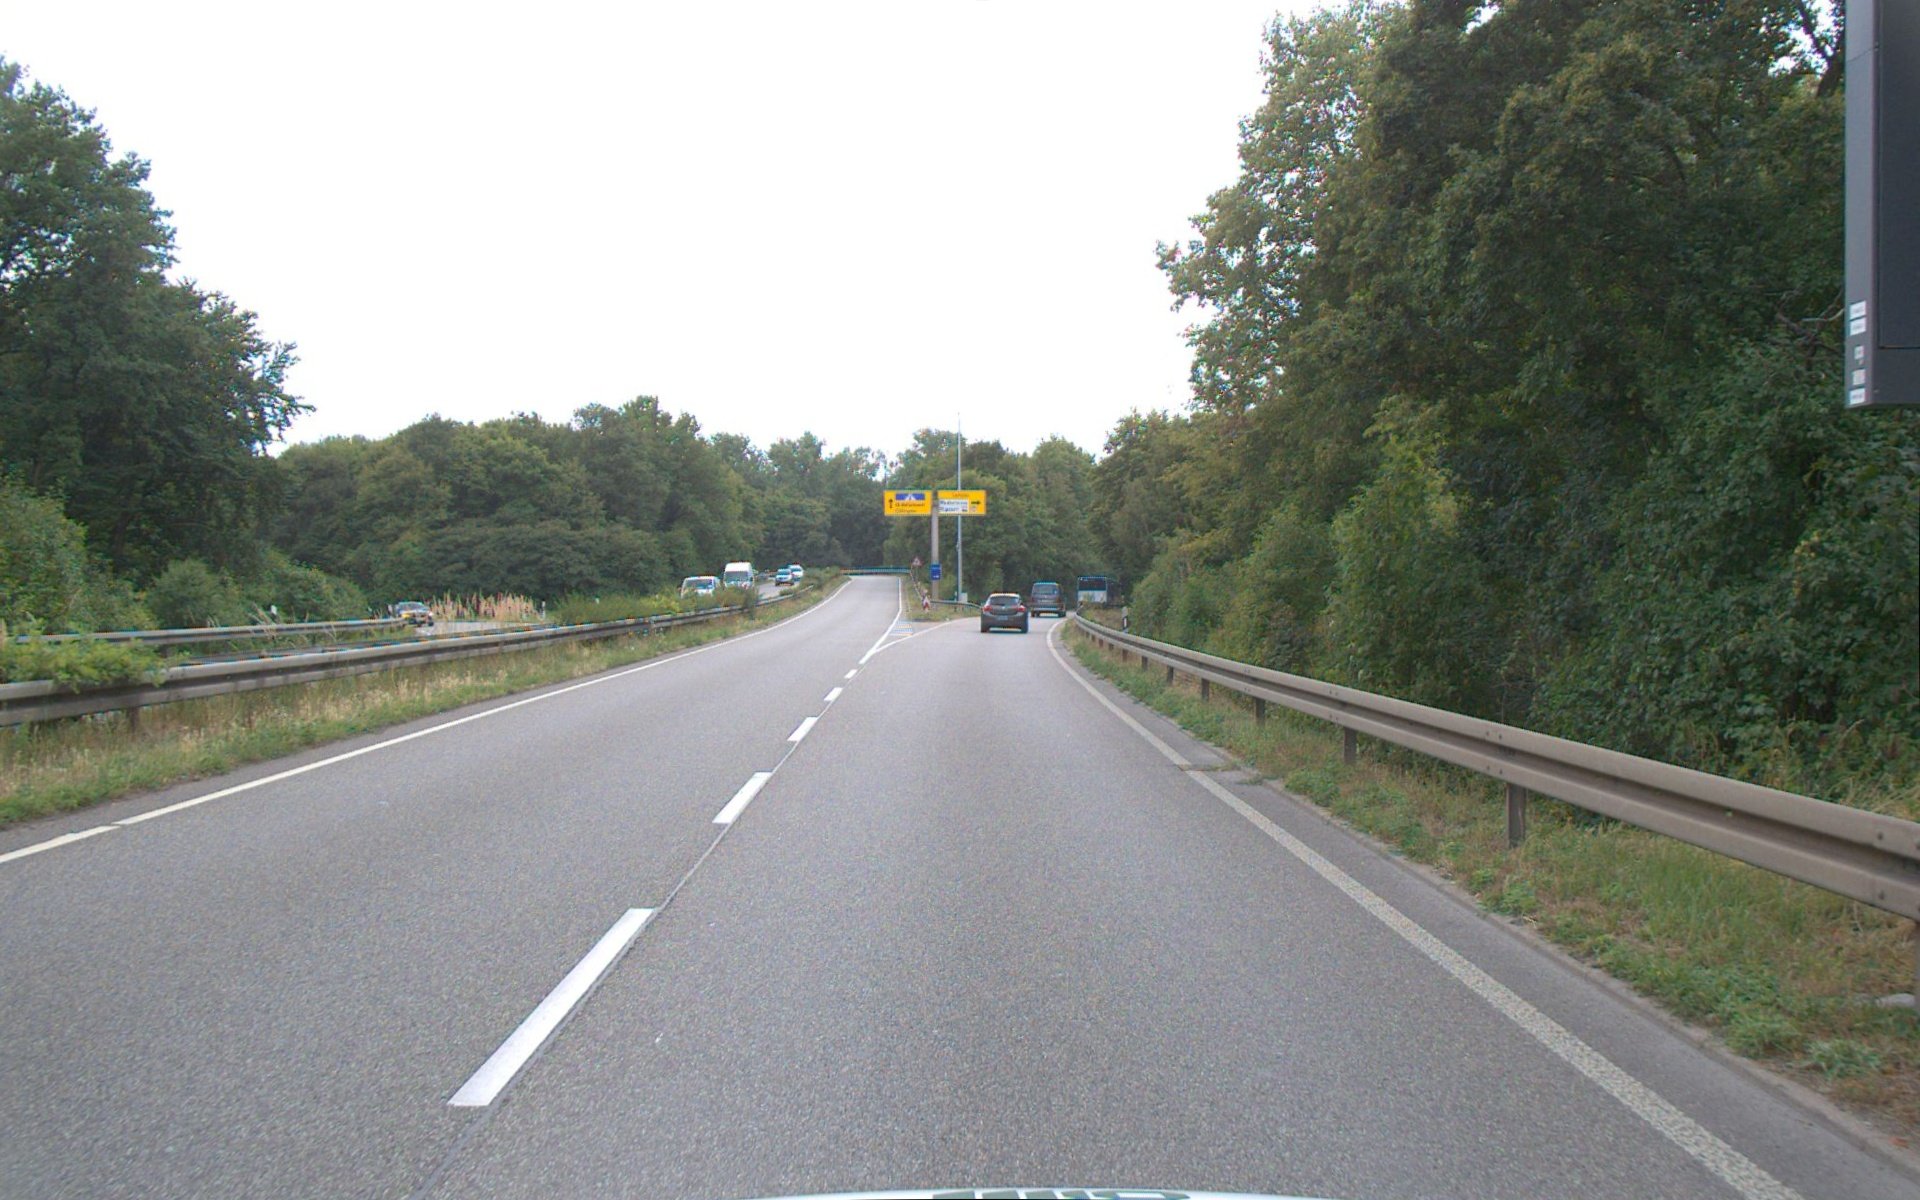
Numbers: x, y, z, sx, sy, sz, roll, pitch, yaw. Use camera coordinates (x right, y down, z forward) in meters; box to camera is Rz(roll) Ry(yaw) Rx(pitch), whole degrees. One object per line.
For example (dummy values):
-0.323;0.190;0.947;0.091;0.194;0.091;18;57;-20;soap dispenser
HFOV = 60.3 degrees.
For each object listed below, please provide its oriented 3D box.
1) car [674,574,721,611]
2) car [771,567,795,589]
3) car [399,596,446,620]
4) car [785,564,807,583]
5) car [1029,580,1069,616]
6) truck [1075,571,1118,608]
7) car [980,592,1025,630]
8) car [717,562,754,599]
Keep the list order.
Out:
-14.112;-0.405;88.984;1.953;1.879;4.000;0;2;-1;car
-17.183;-2.147;160.333;1.953;2.049;4.000;0;1;-1;car
-30.651;0.453;94.197;1.610;1.311;3.954;0;-1;-33;car
-17.731;-2.922;179.376;1.952;2.048;4.001;0;1;1;car
5.287;-0.088;97.887;2.102;2.049;4.003;0;-1;7;car
11.283;-0.805;136.125;2.917;2.935;7.997;0;-1;9;truck
1.660;0.428;63.683;1.591;1.402;4.002;0;-1;4;car
-16.347;-1.426;120.510;2.075;2.637;5.039;0;1;-1;car
